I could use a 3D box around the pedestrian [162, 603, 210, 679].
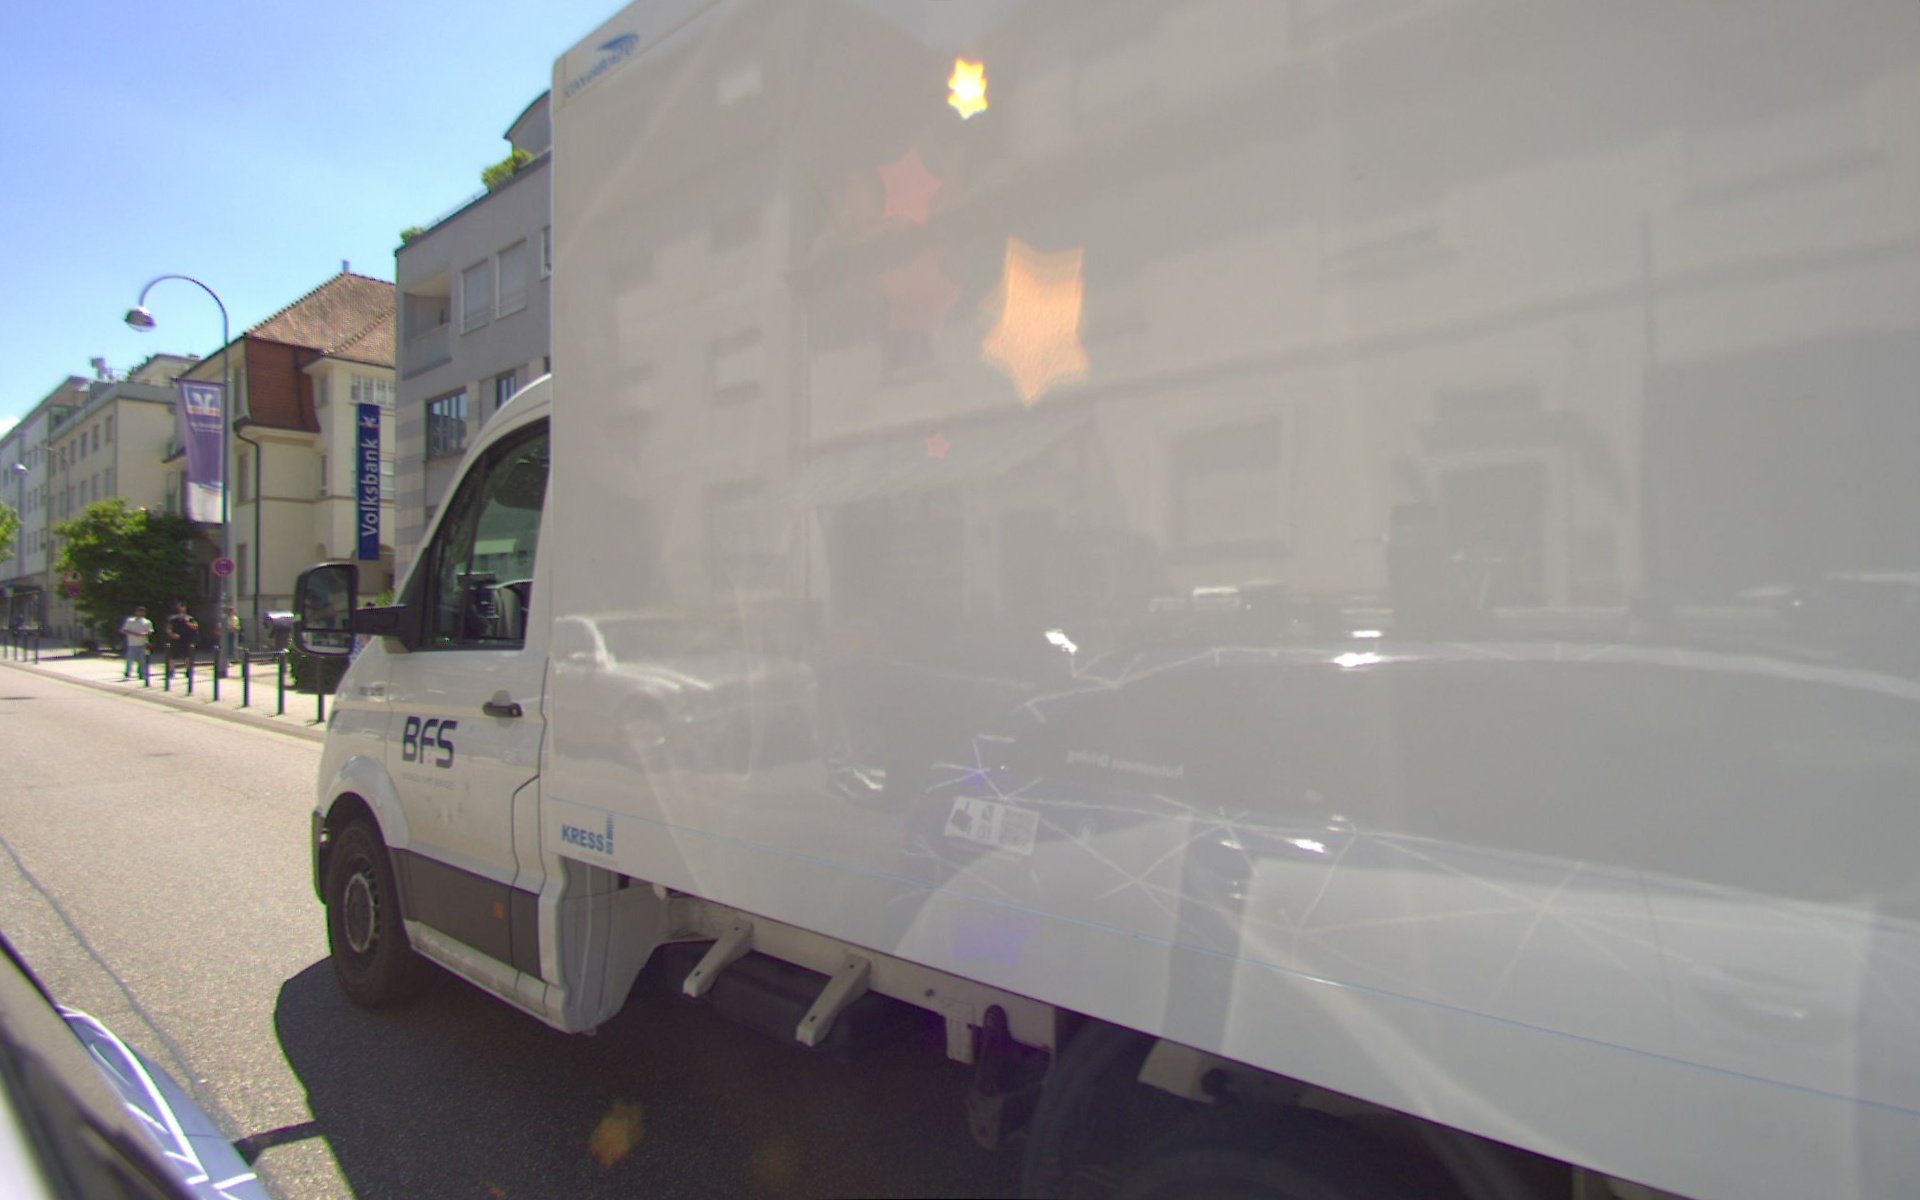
[{"bbox_3d":[-18.533,0.970,24.235,0.950,1.784,0.740,-1,-1,40],"label":"pedestrian"}]

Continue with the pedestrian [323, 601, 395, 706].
[{"bbox_3d":[-9.809,0.848,16.515,0.751,1.657,0.836,-1,-1,42],"label":"pedestrian"}]

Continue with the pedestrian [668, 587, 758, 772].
[{"bbox_3d":[-2.366,0.733,9.704,0.708,1.698,0.531,-1,-1,41],"label":"pedestrian"}]

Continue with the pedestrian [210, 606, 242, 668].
[{"bbox_3d":[-20.294,1.014,27.974,0.734,1.687,0.534,-1,-2,40],"label":"pedestrian"}]

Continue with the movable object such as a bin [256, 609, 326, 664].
[{"bbox_3d":[-19.554,1.042,29.592,1.294,1.499,1.372,-1,2,41],"label":"movable object such as a bin"}]

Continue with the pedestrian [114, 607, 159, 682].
[{"bbox_3d":[-19.303,1.032,23.712,0.903,1.689,0.615,-1,1,40],"label":"pedestrian"}]

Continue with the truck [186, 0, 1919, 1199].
[{"bbox_3d":[0.029,-0.073,2.937,6.254,3.006,2.394,-1,-2,41],"label":"truck"}]
